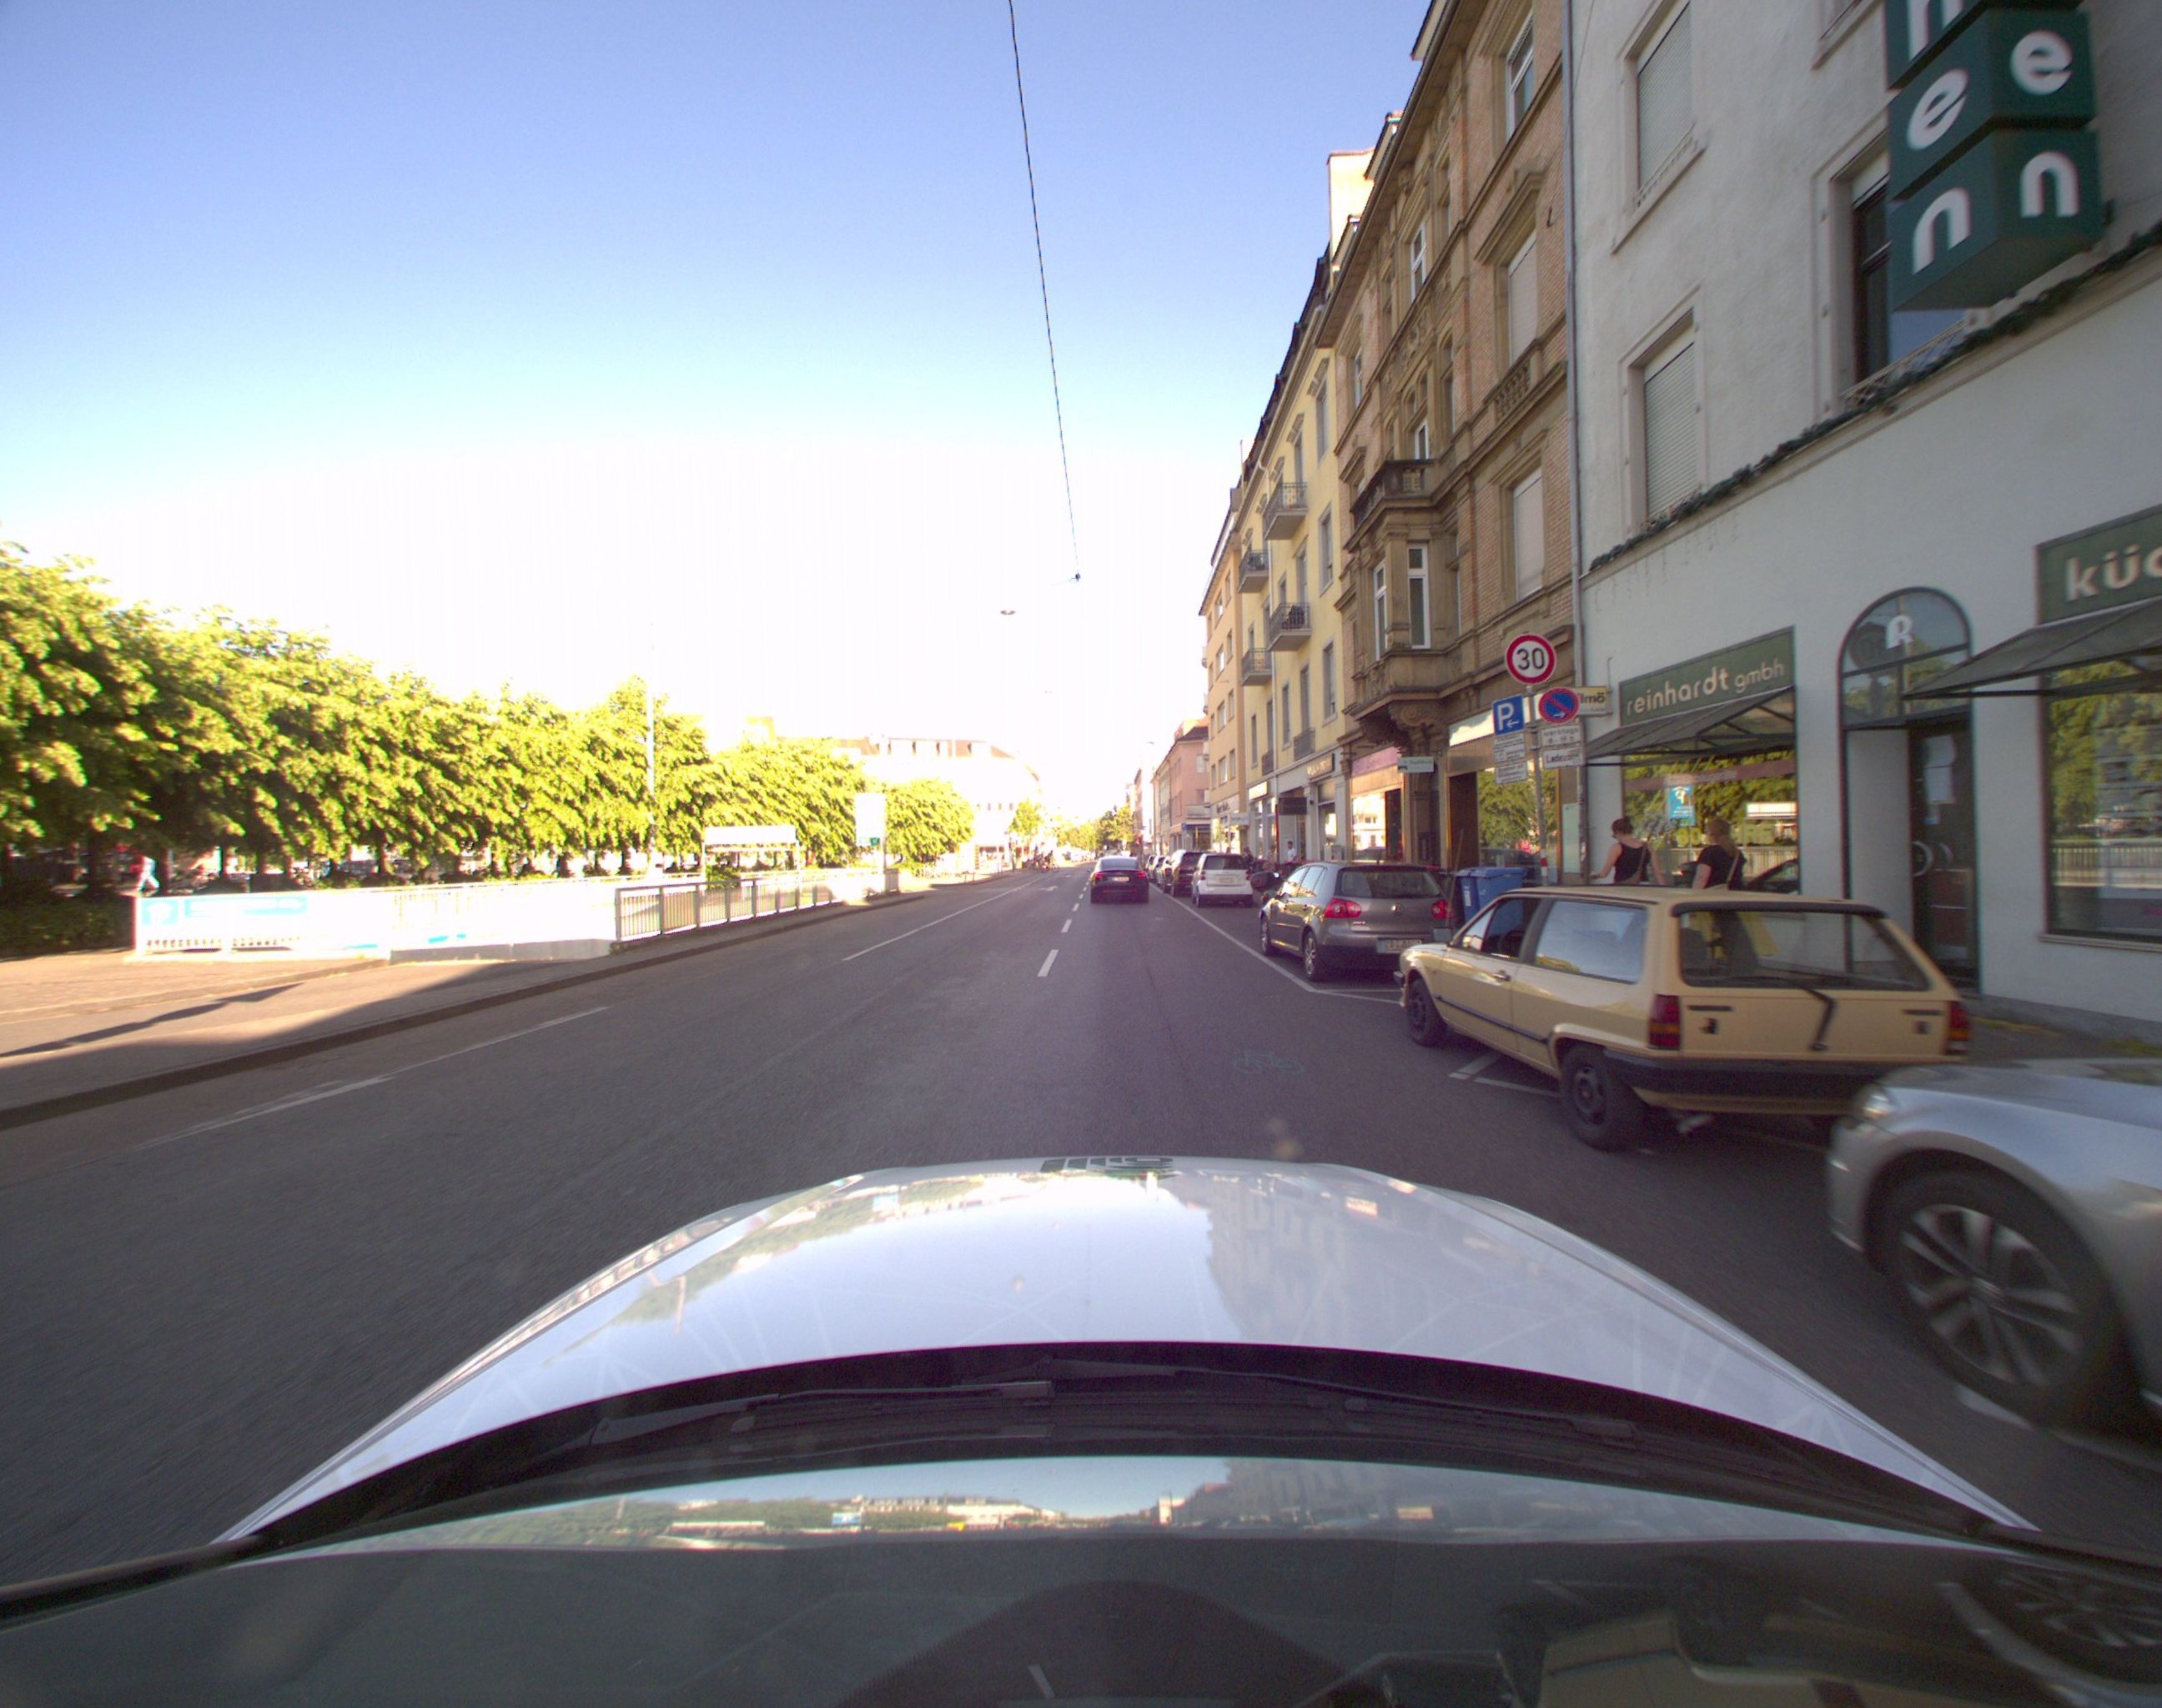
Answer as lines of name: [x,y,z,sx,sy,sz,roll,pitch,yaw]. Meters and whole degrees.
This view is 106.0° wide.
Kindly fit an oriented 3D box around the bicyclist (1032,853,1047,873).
bicyclist: [-3.517,0.769,69.012,1.143,1.686,0.819,-1,-1,-2]

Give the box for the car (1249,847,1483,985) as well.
car: [3.649,0.697,11.292,1.832,1.546,4.229,0,0,1]

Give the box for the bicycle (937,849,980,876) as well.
bicycle: [-9.363,0.669,62.161,3.102,2.014,0.911,-1,0,10]

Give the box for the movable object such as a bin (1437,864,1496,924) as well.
movable object such as a bin: [6.837,0.701,14.457,0.721,1.000,0.593,-3,0,1]

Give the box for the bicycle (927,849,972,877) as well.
bicycle: [-9.695,0.683,60.086,3.102,2.014,0.911,-1,0,10]

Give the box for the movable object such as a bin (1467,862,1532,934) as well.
movable object such as a bin: [6.726,0.698,13.123,0.677,1.096,0.626,-3,0,1]

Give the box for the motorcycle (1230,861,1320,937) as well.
motorcycle: [3.720,0.812,15.480,2.056,1.328,0.648,-1,-1,-44]

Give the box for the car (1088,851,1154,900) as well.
car: [1.232,0.716,26.945,1.989,1.480,4.494,0,-1,0]

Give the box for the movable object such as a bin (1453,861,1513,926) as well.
movable object such as a bin: [6.814,0.652,13.832,0.677,1.043,0.626,-3,0,1]

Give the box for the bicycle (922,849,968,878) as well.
bicycle: [-9.828,0.697,59.004,3.102,2.014,0.911,-1,0,10]

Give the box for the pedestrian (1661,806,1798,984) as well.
pedestrian: [6.467,0.401,8.152,0.797,1.675,0.590,-3,-1,4]

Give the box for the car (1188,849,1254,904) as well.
car: [4.116,0.638,24.277,1.607,1.546,2.857,0,0,3]

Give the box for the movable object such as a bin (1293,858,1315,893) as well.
movable object such as a bin: [7.031,0.667,25.686,0.477,1.052,0.632,-3,0,0]

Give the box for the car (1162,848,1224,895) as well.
car: [4.065,0.650,30.112,1.711,1.636,4.083,0,-1,0]

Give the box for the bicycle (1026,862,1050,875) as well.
bicycle: [-3.617,1.225,69.003,2.006,1.022,0.761,-1,-1,-2]

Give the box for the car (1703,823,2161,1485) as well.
car: [3.322,0.673,1.127,1.832,1.487,4.186,0,0,2]

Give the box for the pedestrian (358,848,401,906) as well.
pedestrian: [-26.317,0.857,30.560,0.725,2.108,0.973,-1,-1,24]

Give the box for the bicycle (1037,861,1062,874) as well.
bicycle: [-2.592,1.087,66.291,2.006,1.022,0.887,-1,-1,-2]

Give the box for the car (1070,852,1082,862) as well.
car: [-0.851,0.562,145.284,1.985,1.772,4.003,0,0,3]

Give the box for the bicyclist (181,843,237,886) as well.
bicyclist: [-35.075,0.410,32.787,0.962,1.700,1.209,-1,-1,-4]

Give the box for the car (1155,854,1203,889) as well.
car: [4.302,0.766,36.298,1.785,1.460,4.085,0,-1,2]

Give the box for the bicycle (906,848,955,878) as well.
bicycle: [-10.340,0.643,56.019,3.102,2.014,0.911,-1,0,10]

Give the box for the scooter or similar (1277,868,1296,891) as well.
scooter or similar: [7.202,0.888,28.528,0.574,0.779,0.469,-4,-1,17]

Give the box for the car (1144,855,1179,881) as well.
car: [4.632,0.839,47.351,1.786,1.460,3.869,0,-1,2]

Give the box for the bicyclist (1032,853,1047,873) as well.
bicyclist: [-3.663,0.799,71.574,1.141,1.686,0.916,-1,-1,4]

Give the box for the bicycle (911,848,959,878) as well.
bicycle: [-10.197,0.636,56.973,3.102,2.014,0.911,-1,0,10]

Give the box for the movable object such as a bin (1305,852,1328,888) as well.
movable object such as a bin: [7.025,0.467,24.308,0.477,1.052,0.632,-3,0,0]

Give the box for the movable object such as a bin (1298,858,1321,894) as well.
movable object such as a bin: [7.021,0.671,25.034,0.493,1.052,0.632,-3,0,0]

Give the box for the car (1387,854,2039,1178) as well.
car: [3.570,0.730,5.594,1.602,1.449,3.832,0,0,2]

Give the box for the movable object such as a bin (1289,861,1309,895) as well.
movable object such as a bin: [7.033,0.771,26.269,0.477,1.052,0.468,-3,-1,0]

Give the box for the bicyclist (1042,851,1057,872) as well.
bicyclist: [-2.540,0.614,66.301,1.143,1.686,0.918,-1,-1,-2]

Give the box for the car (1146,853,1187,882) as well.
car: [4.484,0.724,43.203,1.786,1.460,3.868,0,-1,0]

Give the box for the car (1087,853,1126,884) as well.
car: [1.386,0.736,42.883,1.926,1.487,4.275,-1,0,3]

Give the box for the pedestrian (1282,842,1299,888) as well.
pedestrian: [7.502,0.397,29.170,0.468,1.635,0.514,-1,-1,6]

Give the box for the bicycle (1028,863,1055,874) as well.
bicycle: [-3.460,1.282,71.543,2.233,0.883,0.925,-1,-1,5]

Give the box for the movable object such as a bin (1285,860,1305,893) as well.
movable object such as a bin: [7.030,0.720,26.776,0.454,1.052,0.500,-3,-1,0]

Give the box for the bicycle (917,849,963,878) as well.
bicycle: [-10.027,0.667,57.962,3.102,2.014,0.911,-1,0,10]

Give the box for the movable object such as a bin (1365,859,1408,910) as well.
movable object such as a bin: [6.836,0.670,18.250,0.641,1.076,0.820,-3,0,2]

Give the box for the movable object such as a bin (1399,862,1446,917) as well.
movable object such as a bin: [6.865,0.696,16.400,0.642,1.052,0.632,-3,0,0]

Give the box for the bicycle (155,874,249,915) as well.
bicycle: [-35.061,1.602,32.553,0.962,1.503,2.685,-1,0,-4]

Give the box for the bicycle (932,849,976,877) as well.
bicycle: [-9.551,0.667,61.122,3.102,2.014,0.911,-1,0,10]

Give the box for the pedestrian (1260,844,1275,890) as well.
pedestrian: [6.614,0.455,28.842,0.467,1.635,0.515,-1,-1,17]

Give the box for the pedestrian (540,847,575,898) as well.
pedestrian: [-22.181,0.776,34.509,0.725,2.108,0.973,-1,-1,24]

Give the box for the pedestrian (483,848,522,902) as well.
pedestrian: [-22.661,0.816,31.909,0.725,2.108,0.973,-1,-1,24]

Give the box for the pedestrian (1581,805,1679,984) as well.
pedestrian: [5.634,0.406,8.387,0.617,1.766,0.519,-1,-1,4]
